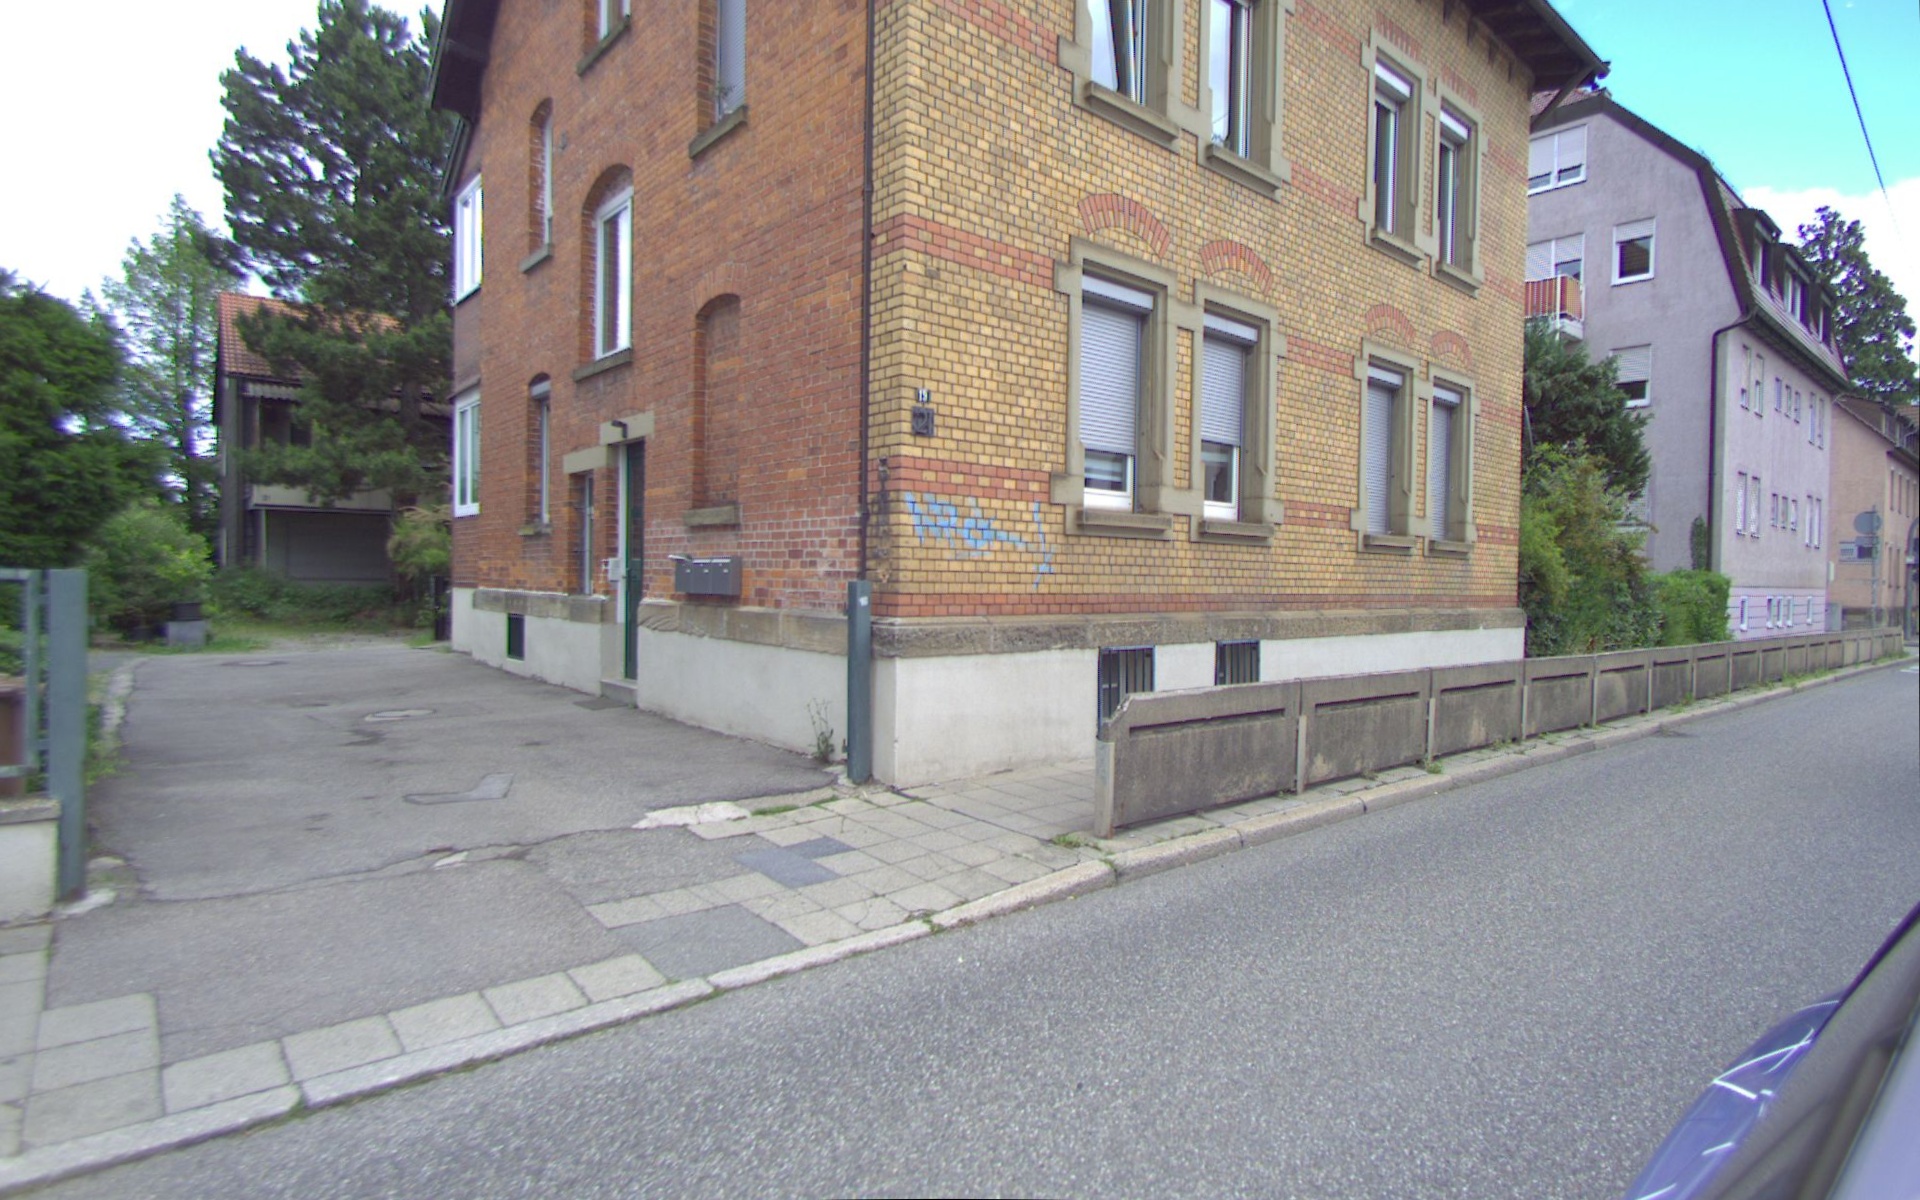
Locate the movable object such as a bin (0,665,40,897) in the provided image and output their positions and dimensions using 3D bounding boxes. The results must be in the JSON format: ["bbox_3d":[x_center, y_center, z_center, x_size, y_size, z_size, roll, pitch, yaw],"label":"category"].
[{"bbox_3d":[-4.137,0.752,4.202,0.448,0.915,0.398,0,1,-40],"label":"movable object such as a bin"}]
